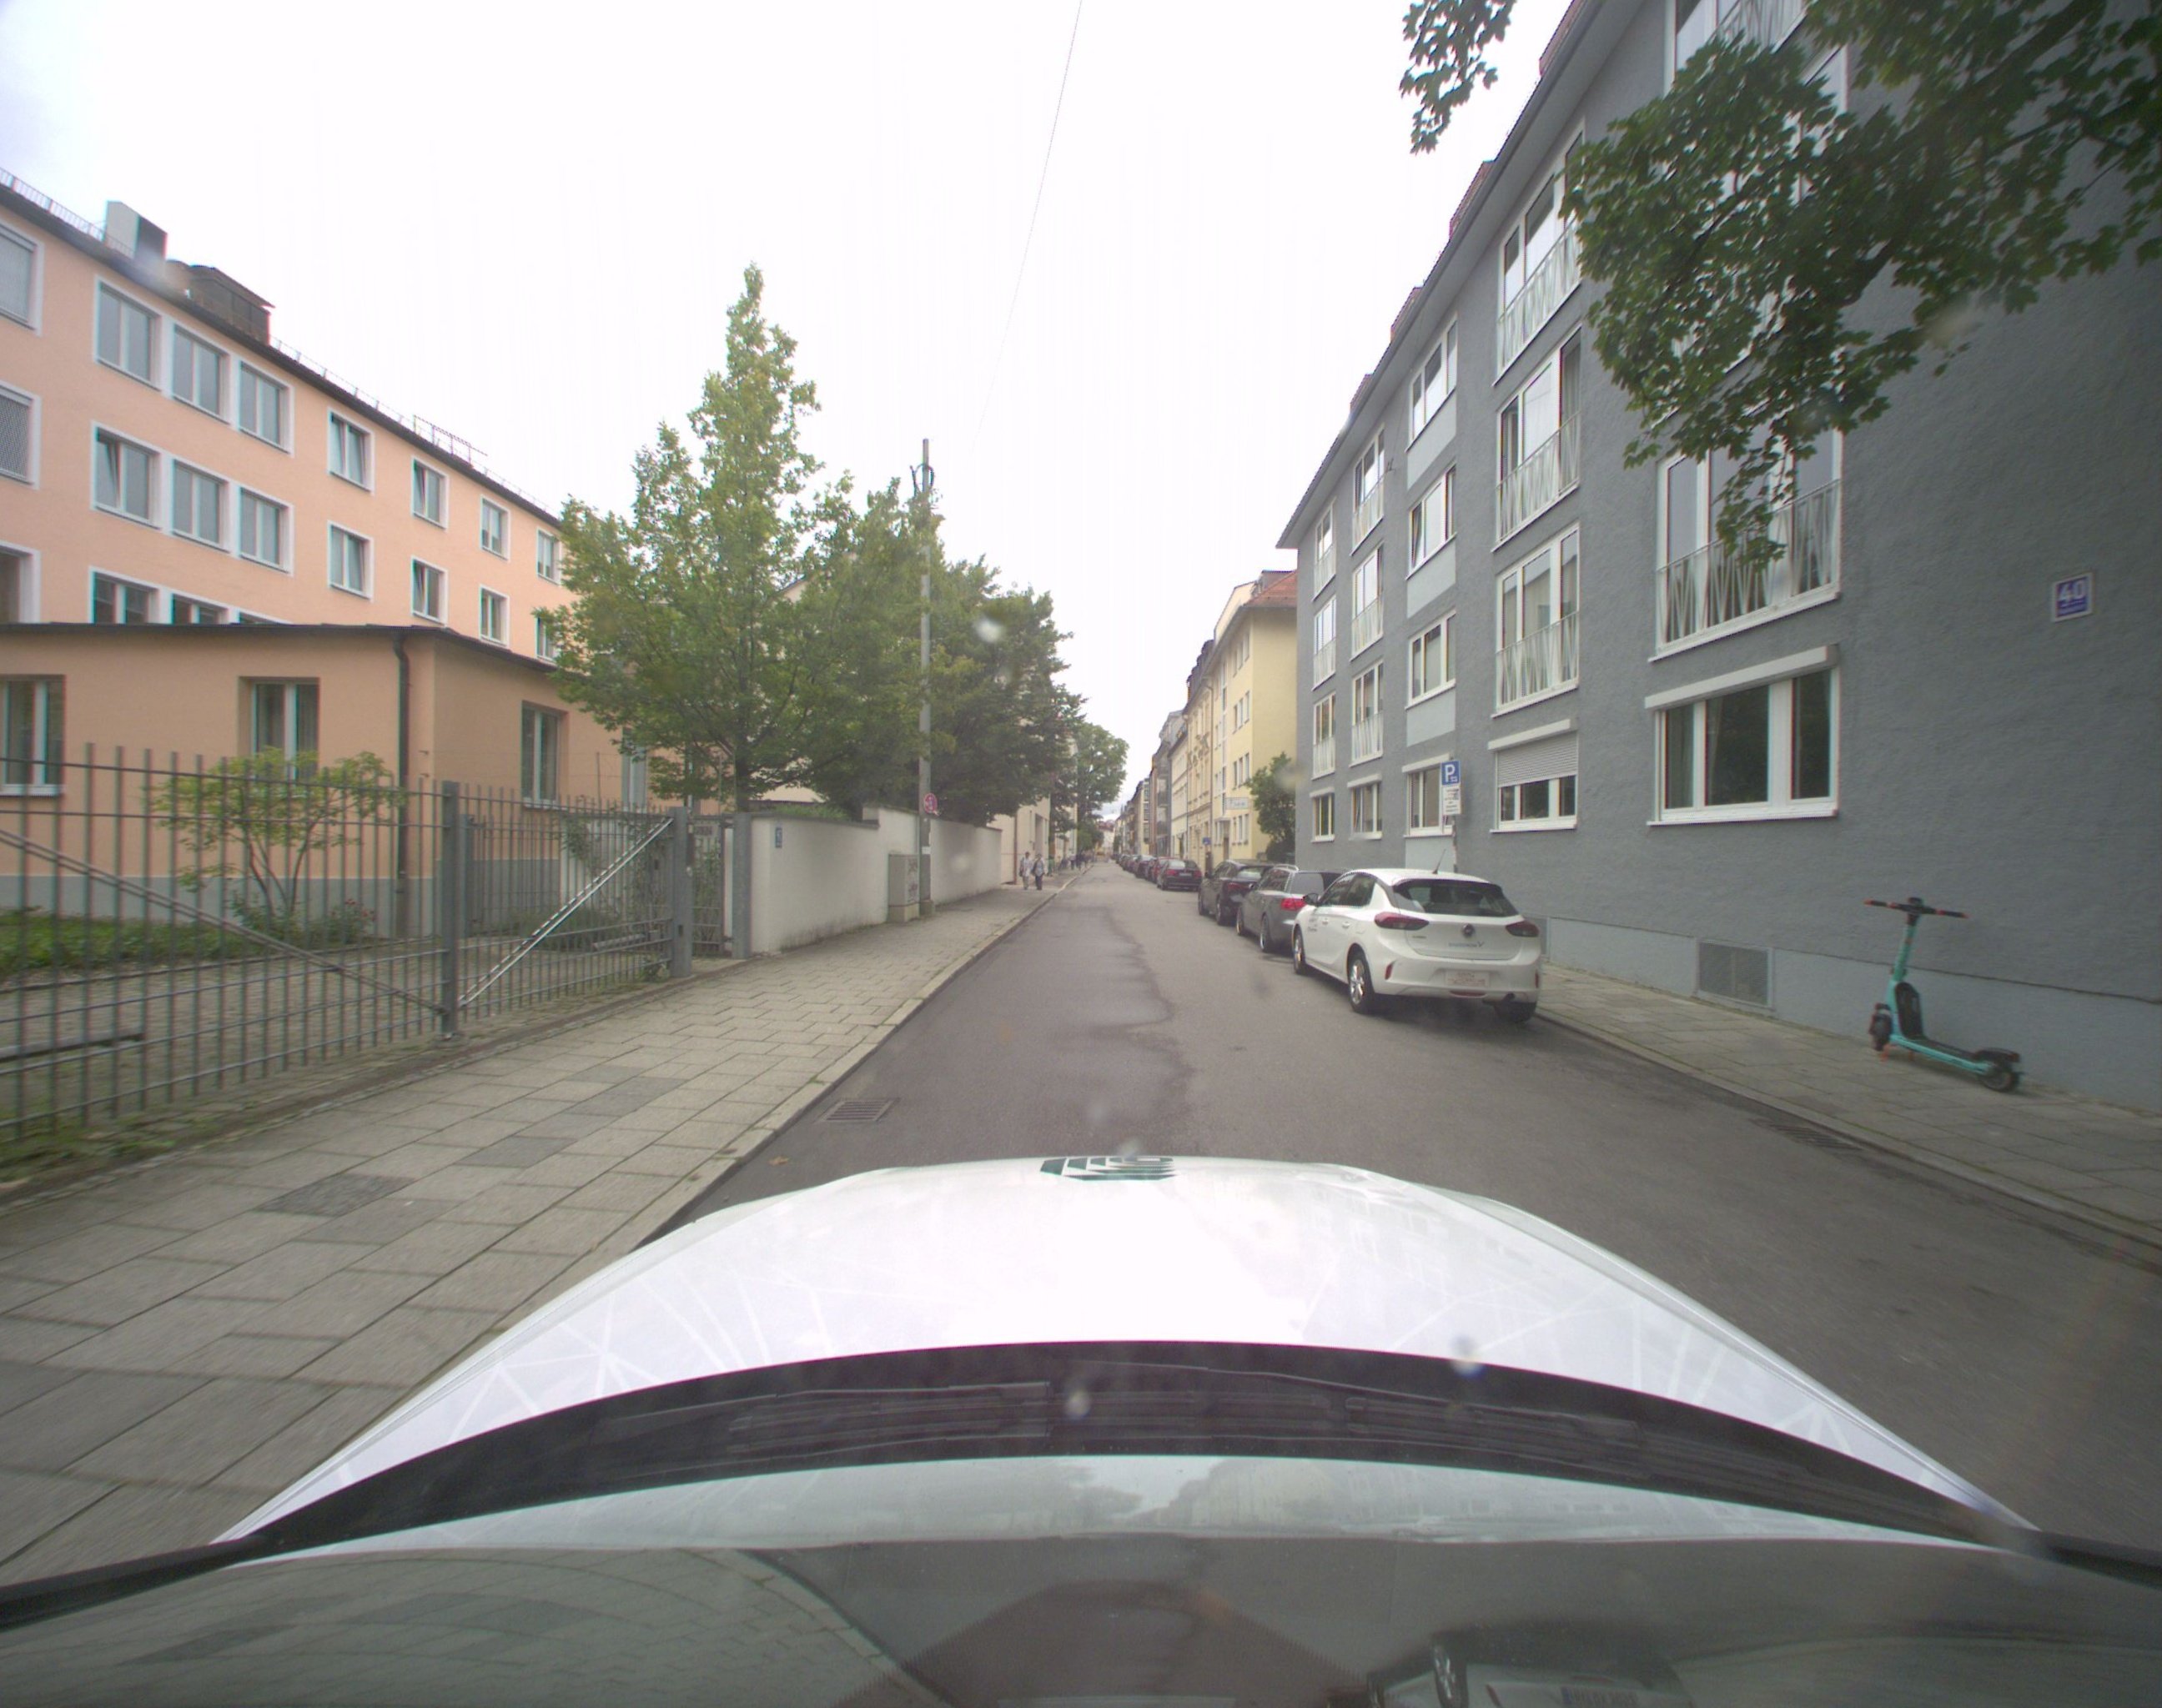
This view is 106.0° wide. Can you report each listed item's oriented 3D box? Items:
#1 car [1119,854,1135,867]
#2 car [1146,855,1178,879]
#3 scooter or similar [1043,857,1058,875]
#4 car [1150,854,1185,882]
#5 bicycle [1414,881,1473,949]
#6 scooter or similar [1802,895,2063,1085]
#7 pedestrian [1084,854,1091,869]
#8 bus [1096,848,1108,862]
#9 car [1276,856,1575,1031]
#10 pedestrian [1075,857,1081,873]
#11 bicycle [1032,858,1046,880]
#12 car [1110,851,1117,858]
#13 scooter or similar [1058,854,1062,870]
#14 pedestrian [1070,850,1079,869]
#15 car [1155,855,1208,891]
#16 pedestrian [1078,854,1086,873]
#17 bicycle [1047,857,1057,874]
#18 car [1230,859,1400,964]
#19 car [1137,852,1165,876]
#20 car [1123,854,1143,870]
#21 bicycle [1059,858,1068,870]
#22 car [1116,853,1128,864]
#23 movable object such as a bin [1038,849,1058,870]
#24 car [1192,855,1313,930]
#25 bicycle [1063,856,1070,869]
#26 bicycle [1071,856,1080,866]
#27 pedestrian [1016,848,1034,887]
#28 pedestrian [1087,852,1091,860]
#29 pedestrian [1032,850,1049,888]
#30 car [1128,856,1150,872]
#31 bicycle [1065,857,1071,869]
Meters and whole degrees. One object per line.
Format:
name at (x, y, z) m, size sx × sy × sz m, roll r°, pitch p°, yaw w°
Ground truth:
car at (6.076, 0.823, 107.410) m, size 1.880 × 1.555 × 4.390 m, roll 1°, pitch 0°, yaw 0°
car at (5.004, 0.776, 50.876) m, size 1.670 × 1.393 × 4.066 m, roll 1°, pitch 0°, yaw 1°
scooter or similar at (-2.013, 0.778, 53.910) m, size 0.547 × 1.144 × 1.364 m, roll 3°, pitch 0°, yaw 18°
car at (4.847, 0.777, 46.184) m, size 1.670 × 1.492 × 3.854 m, roll 1°, pitch 0°, yaw 1°
bicycle at (6.510, 1.066, 14.686) m, size 0.376 × 1.110 × 1.687 m, roll 0°, pitch 0°, yaw 2°
scooter or similar at (6.158, 0.920, 5.997) m, size 0.503 × 1.174 × 1.377 m, roll 0°, pitch -1°, yaw 3°
pedestrian at (0.711, 0.833, 89.724) m, size 0.750 × 1.659 × 0.906 m, roll 2°, pitch -1°, yaw 1°
bus at (4.955, 0.259, 189.884) m, size 2.583 × 3.102 × 6.308 m, roll 0°, pitch -1°, yaw 2°
car at (3.652, 0.817, 9.583) m, size 1.762 × 1.445 × 4.347 m, roll 4°, pitch 0°, yaw 2°
pedestrian at (-0.348, 1.230, 90.026) m, size 0.610 × 1.713 × 0.823 m, roll 2°, pitch -1°, yaw 1°
bicycle at (-2.178, 0.768, 42.331) m, size 0.536 × 1.139 × 1.917 m, roll 2°, pitch 0°, yaw 1°
car at (8.900, 0.072, 221.922) m, size 1.795 × 1.712 × 3.826 m, roll 4°, pitch 0°, yaw 0°
scooter or similar at (-1.784, 0.655, 69.314) m, size 0.316 × 1.376 × 1.239 m, roll 0°, pitch -1°, yaw 1°
pedestrian at (-0.612, 0.533, 76.515) m, size 0.715 × 1.796 × 0.917 m, roll 2°, pitch -1°, yaw 2°
car at (4.429, 0.805, 36.384) m, size 1.819 × 1.334 × 4.509 m, roll 4°, pitch 0°, yaw 1°
pedestrian at (0.113, 0.913, 76.612) m, size 0.715 × 1.765 × 0.838 m, roll 2°, pitch -1°, yaw 2°
bicycle at (-2.002, 0.783, 55.976) m, size 0.542 × 1.161 × 1.882 m, roll 2°, pitch 0°, yaw 0°
car at (3.865, 0.857, 14.271) m, size 1.783 × 1.401 × 4.488 m, roll 4°, pitch 0°, yaw 2°
car at (4.892, 0.703, 57.349) m, size 1.696 × 1.607 × 4.686 m, roll 1°, pitch 0°, yaw 1°
car at (5.240, 0.819, 82.654) m, size 1.833 × 1.528 × 4.293 m, roll 1°, pitch 0°, yaw 1°
bicycle at (-1.506, 0.856, 71.041) m, size 0.702 × 0.984 × 1.821 m, roll 5°, pitch -1°, yaw -3°
car at (7.282, 0.796, 143.999) m, size 1.796 × 1.820 × 3.999 m, roll 4°, pitch 0°, yaw -1°
movable object such as a bin at (-2.461, 0.424, 61.249) m, size 1.168 × 1.442 × 1.251 m, roll 5°, pitch 1°, yaw 7°
car at (3.864, 0.809, 19.137) m, size 1.835 × 1.428 × 4.263 m, roll 4°, pitch 0°, yaw 0°
bicycle at (-1.417, 0.834, 79.186) m, size 0.456 × 1.159 × 1.606 m, roll 3°, pitch -1°, yaw 3°
bicycle at (-0.668, 0.875, 103.865) m, size 0.643 × 1.217 × 1.655 m, roll 0°, pitch -1°, yaw -17°
pedestrian at (-2.362, 0.575, 34.545) m, size 0.611 × 1.621 × 0.688 m, roll 3°, pitch -1°, yaw 2°
pedestrian at (1.432, 0.427, 151.248) m, size 0.753 × 1.491 × 0.831 m, roll 0°, pitch -1°, yaw 2°
pedestrian at (-1.709, 0.619, 34.691) m, size 0.620 × 1.579 × 0.714 m, roll 2°, pitch -1°, yaw 1°
car at (5.148, 0.864, 72.846) m, size 1.801 × 1.363 × 3.947 m, roll 0°, pitch 0°, yaw 2°
bicycle at (-1.289, 0.849, 80.900) m, size 0.560 × 1.159 × 1.718 m, roll 1°, pitch -1°, yaw -4°
